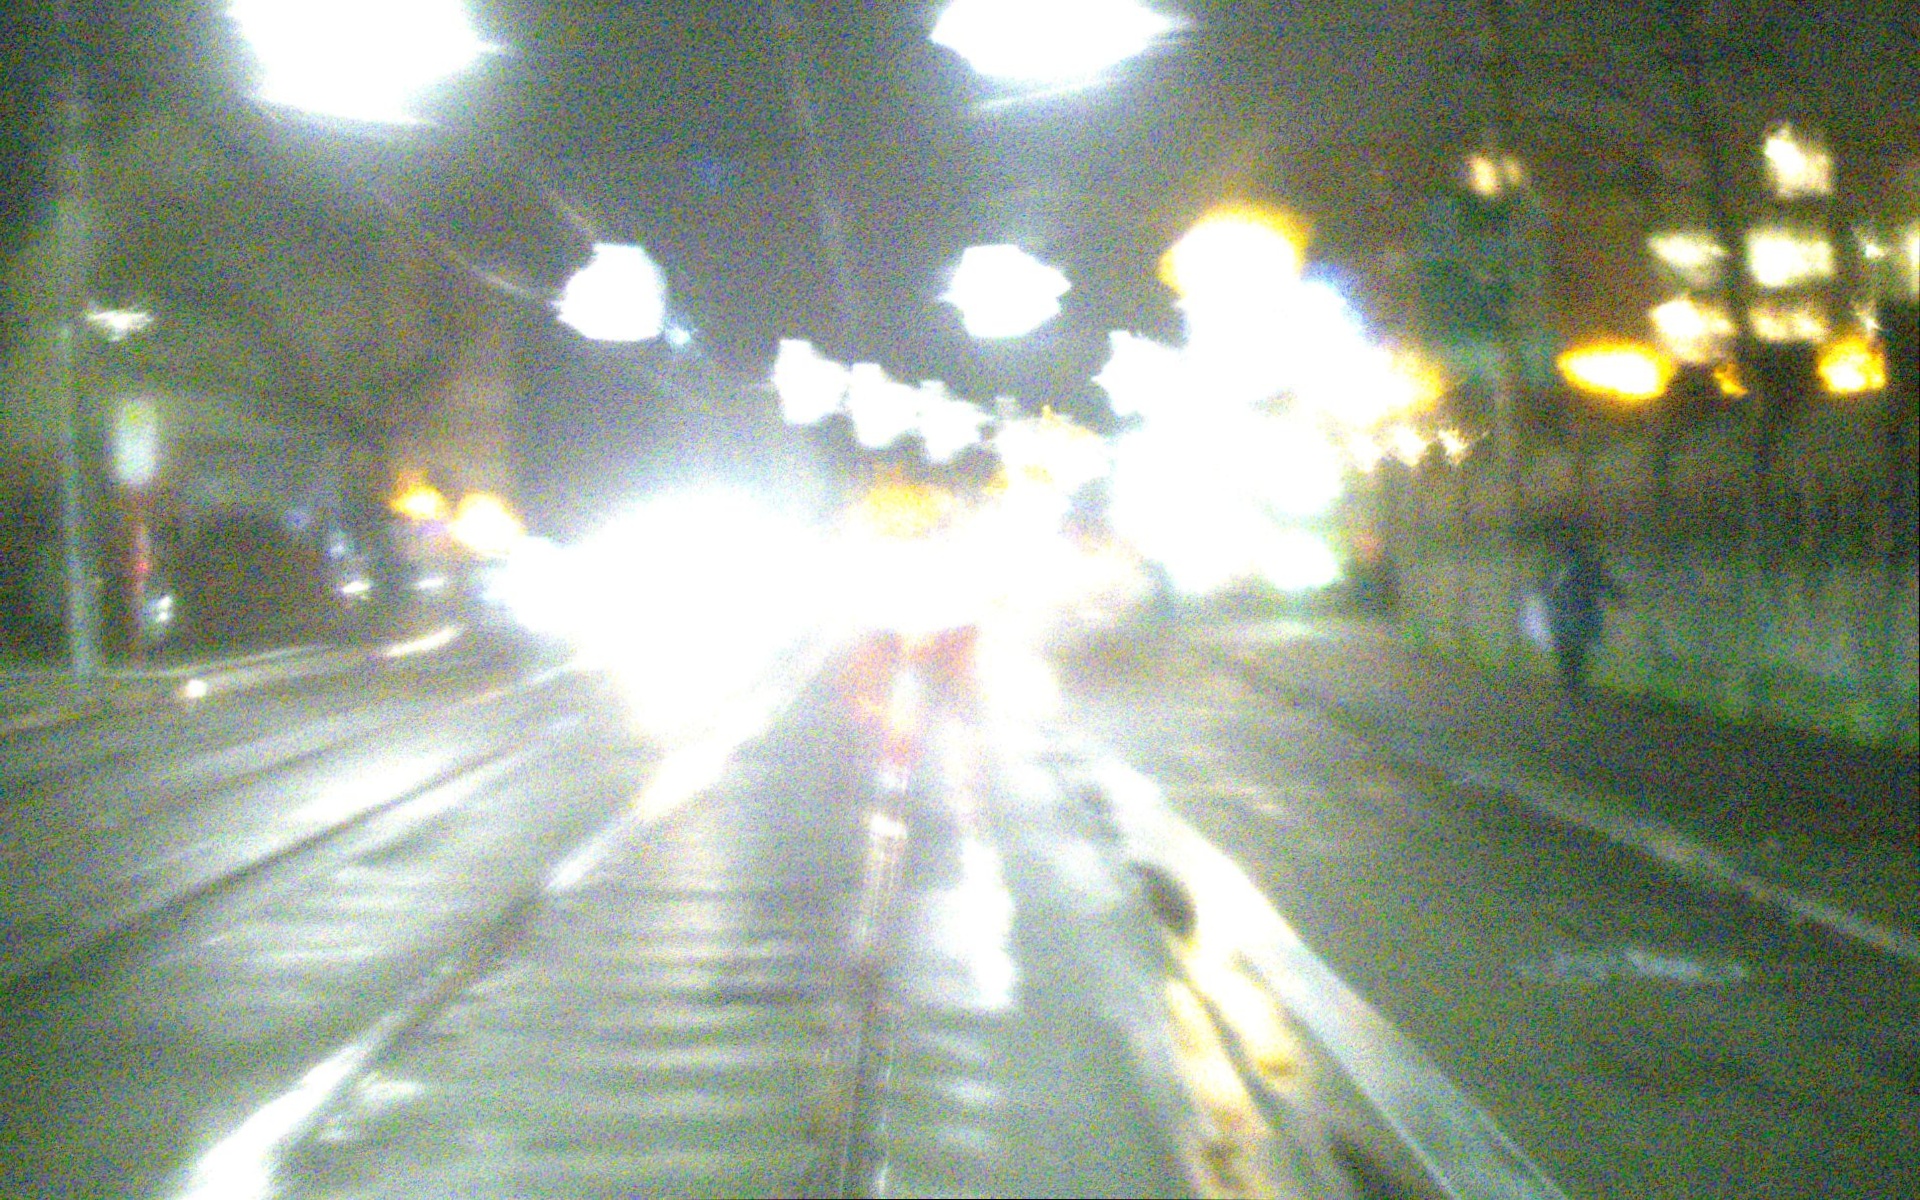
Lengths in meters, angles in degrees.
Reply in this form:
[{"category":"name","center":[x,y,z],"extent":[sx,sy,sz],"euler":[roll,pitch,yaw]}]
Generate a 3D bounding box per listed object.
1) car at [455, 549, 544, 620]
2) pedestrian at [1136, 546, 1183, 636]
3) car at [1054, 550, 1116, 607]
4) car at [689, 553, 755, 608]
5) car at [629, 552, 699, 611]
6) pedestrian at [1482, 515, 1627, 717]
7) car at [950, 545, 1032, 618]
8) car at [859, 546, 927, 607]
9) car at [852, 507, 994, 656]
[{"category":"car","center":[-13.276,-0.459,99.369],"extent":[1.993,2.007,4.000],"euler":[0,1,0]},{"category":"pedestrian","center":[3.934,-0.176,67.787],"extent":[0.778,1.770,0.693],"euler":[0,0,17]},{"category":"car","center":[4.476,-0.776,123.336],"extent":[1.993,2.007,4.000],"euler":[0,1,-1]},{"category":"car","center":[-8.603,-0.717,124.097],"extent":[2.319,1.925,4.964],"euler":[0,1,-4]},{"category":"car","center":[-8.804,-0.553,102.337],"extent":[1.993,1.718,4.077],"euler":[0,1,-4]},{"category":"pedestrian","center":[5.092,0.128,29.505],"extent":[0.939,1.658,0.994],"euler":[-3,1,-5]},{"category":"car","center":[0.808,-0.486,87.606],"extent":[2.016,1.809,4.000],"euler":[0,1,2]},{"category":"car","center":[-2.048,-0.715,104.321],"extent":[1.993,1.809,4.000],"euler":[0,1,-1]},{"category":"car","center":[-0.650,-0.313,56.900],"extent":[2.244,2.353,4.394],"euler":[0,1,-2]}]
